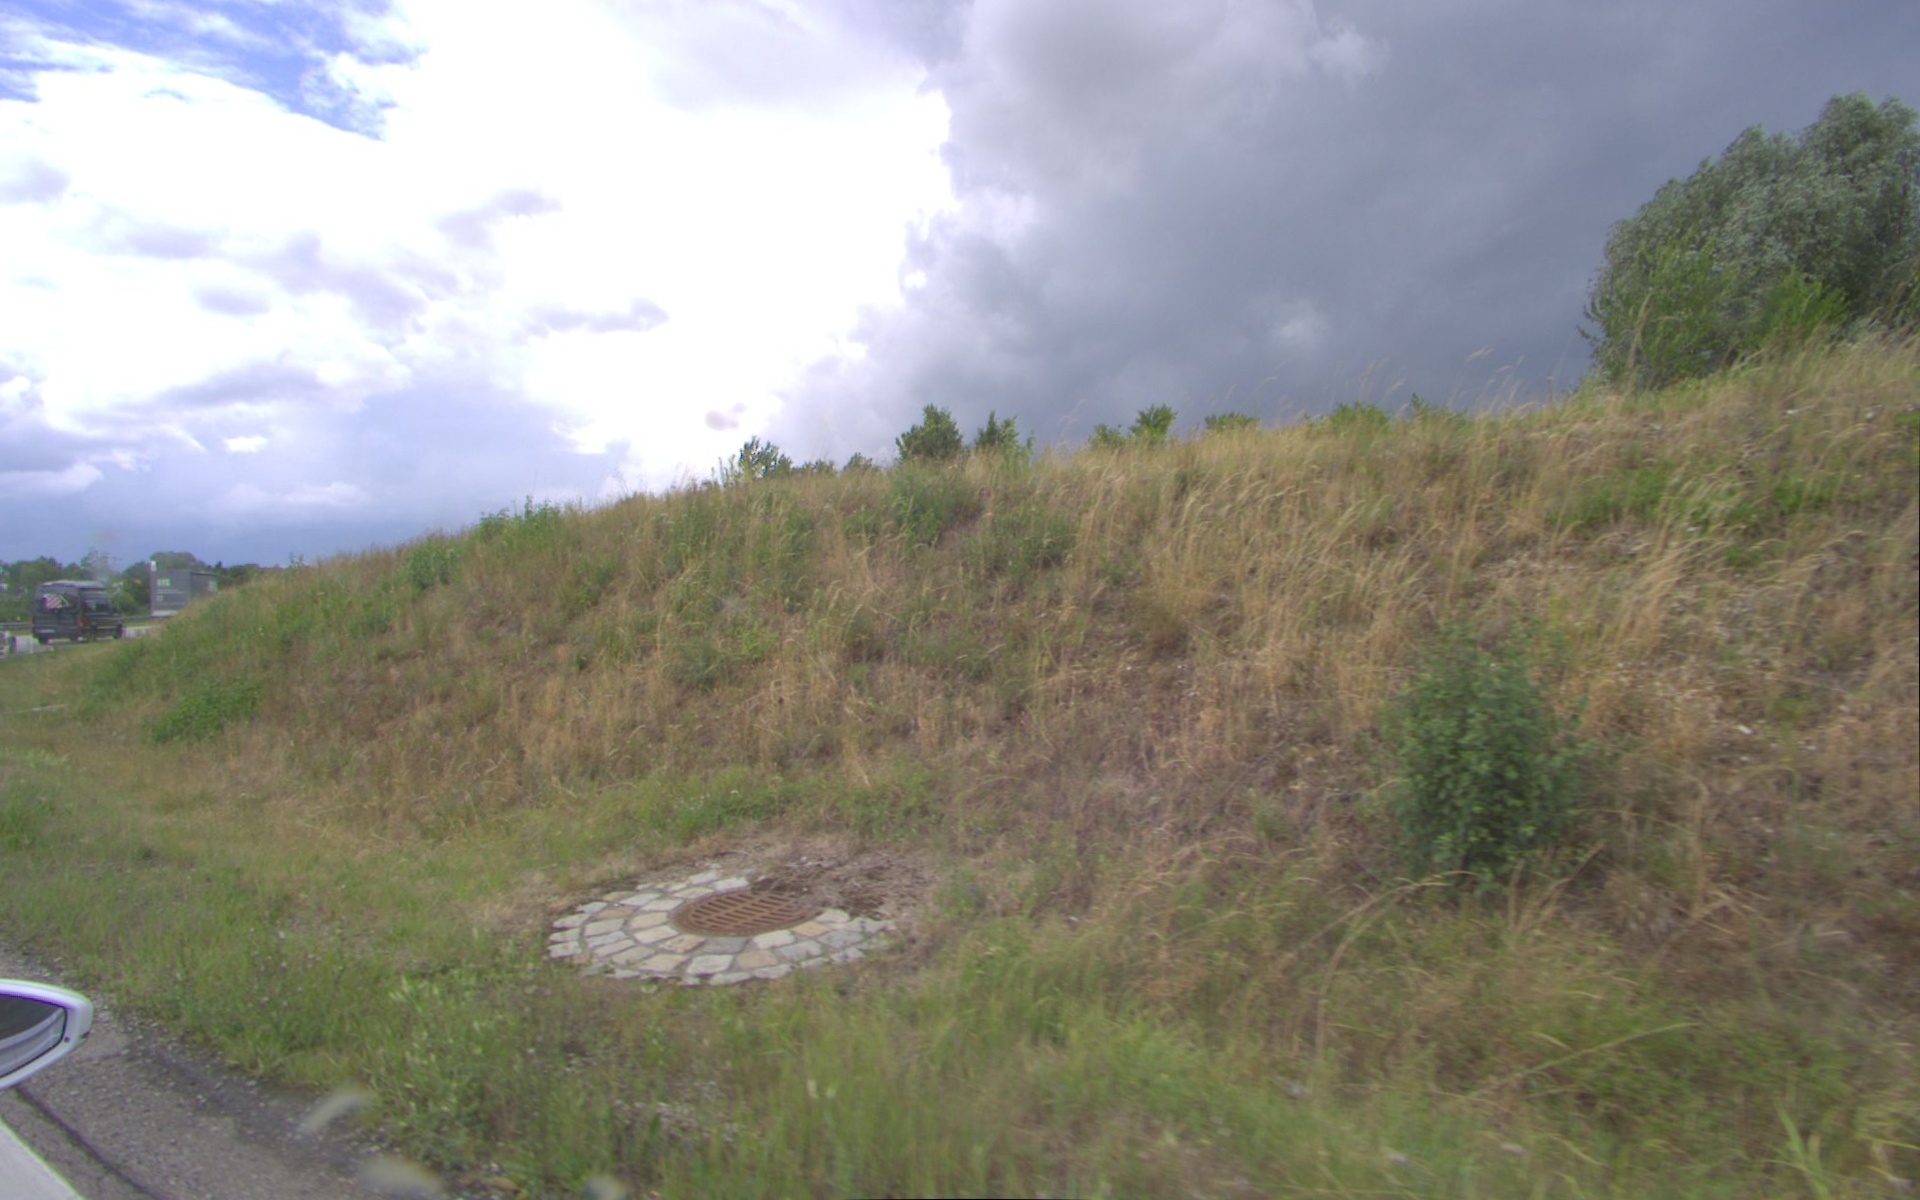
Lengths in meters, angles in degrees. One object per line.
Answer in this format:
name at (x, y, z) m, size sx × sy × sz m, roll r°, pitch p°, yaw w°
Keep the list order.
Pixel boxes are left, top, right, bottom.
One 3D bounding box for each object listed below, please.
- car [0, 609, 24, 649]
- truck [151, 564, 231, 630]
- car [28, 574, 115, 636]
car at (-37.869, 1.129, 38.516) m, size 1.845 × 1.529 × 3.980 m, roll 0°, pitch -1°, yaw -30°
truck at (-49.435, -0.085, 64.567) m, size 2.197 × 3.955 × 6.007 m, roll 0°, pitch -2°, yaw -18°
car at (-42.354, 0.298, 47.828) m, size 2.079 × 2.832 × 3.985 m, roll 1°, pitch -1°, yaw -26°
